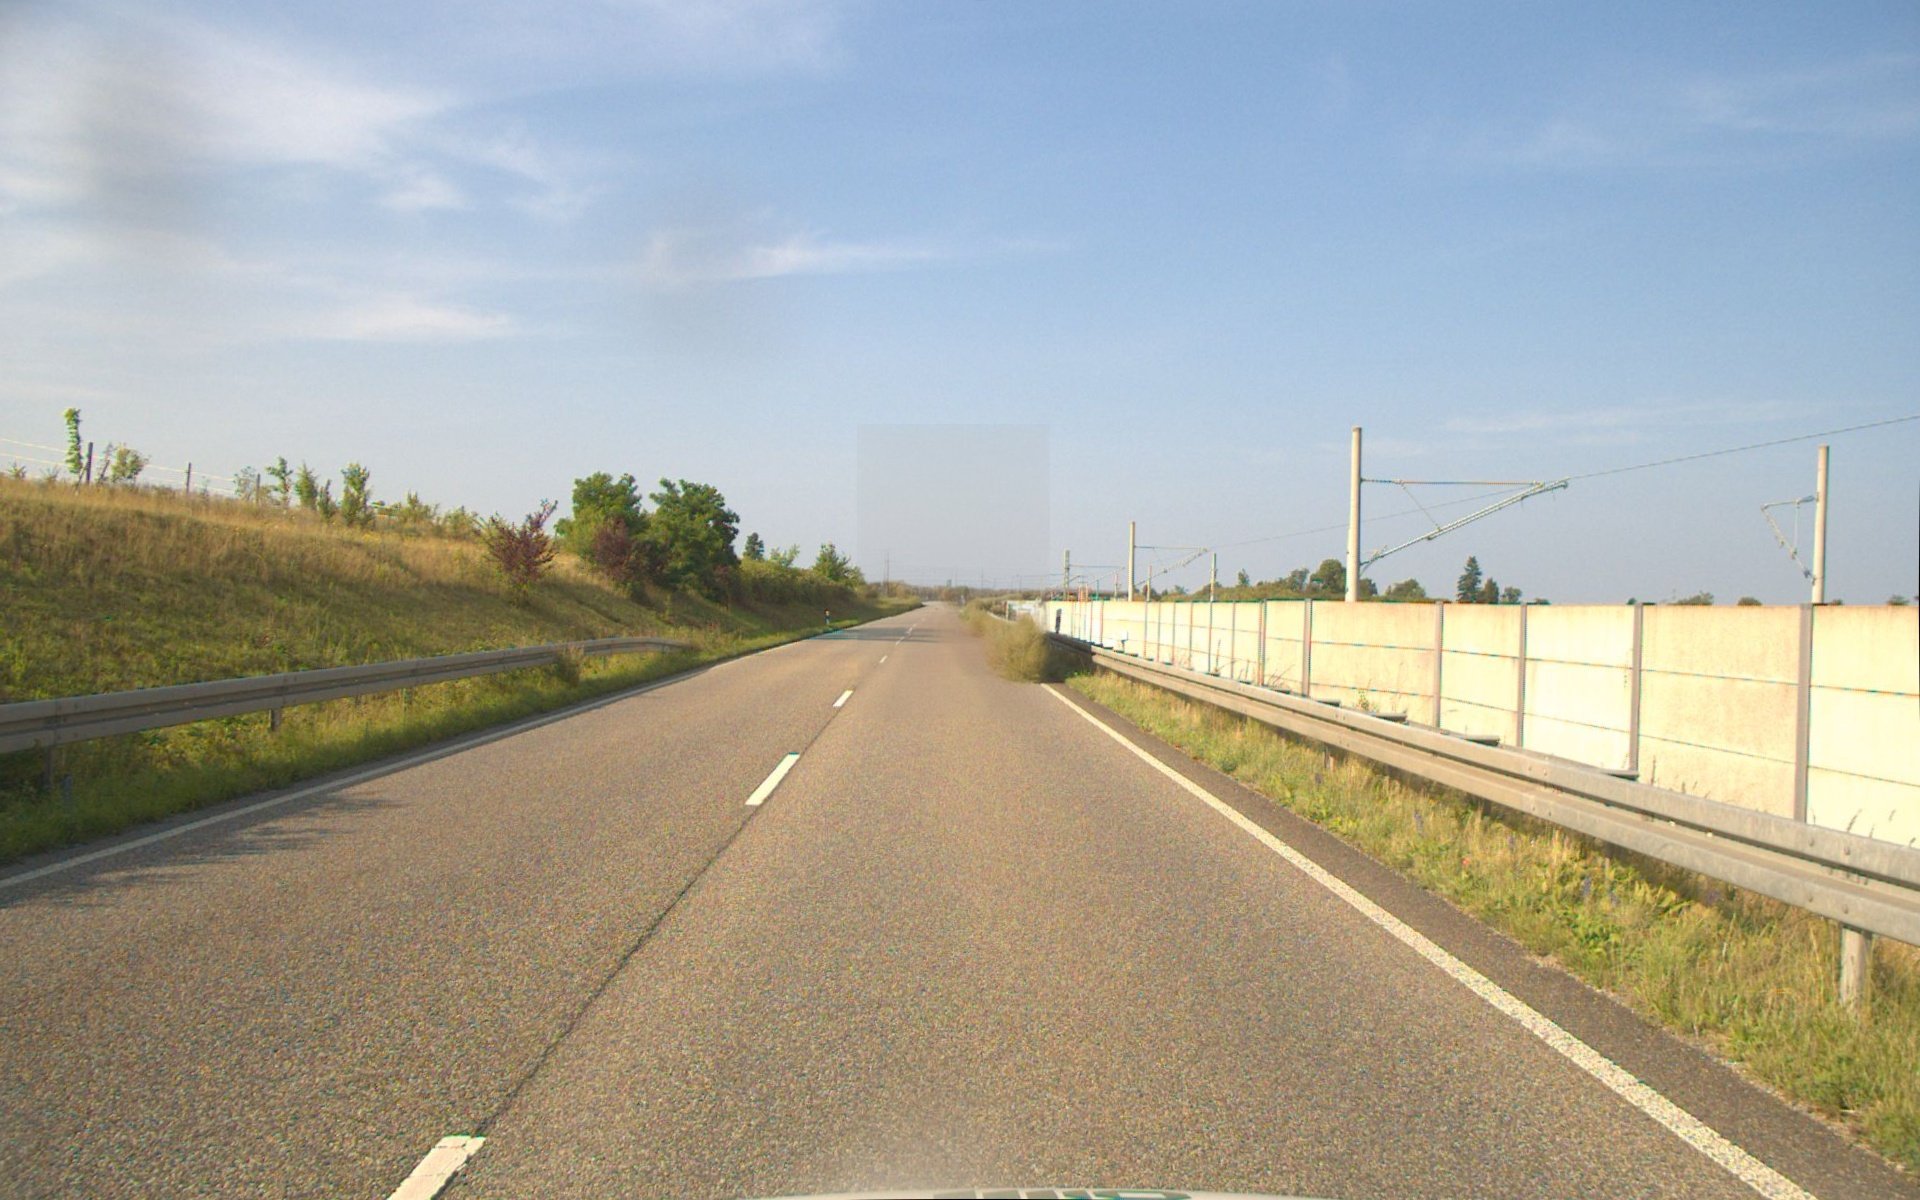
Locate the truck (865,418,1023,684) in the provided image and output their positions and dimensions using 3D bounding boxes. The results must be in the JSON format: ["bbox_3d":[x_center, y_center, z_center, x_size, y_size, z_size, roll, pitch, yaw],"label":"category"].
[{"bbox_3d":[-0.428,-0.953,36.941,2.971,5.006,11.681,0,0,-1],"label":"truck"}]
